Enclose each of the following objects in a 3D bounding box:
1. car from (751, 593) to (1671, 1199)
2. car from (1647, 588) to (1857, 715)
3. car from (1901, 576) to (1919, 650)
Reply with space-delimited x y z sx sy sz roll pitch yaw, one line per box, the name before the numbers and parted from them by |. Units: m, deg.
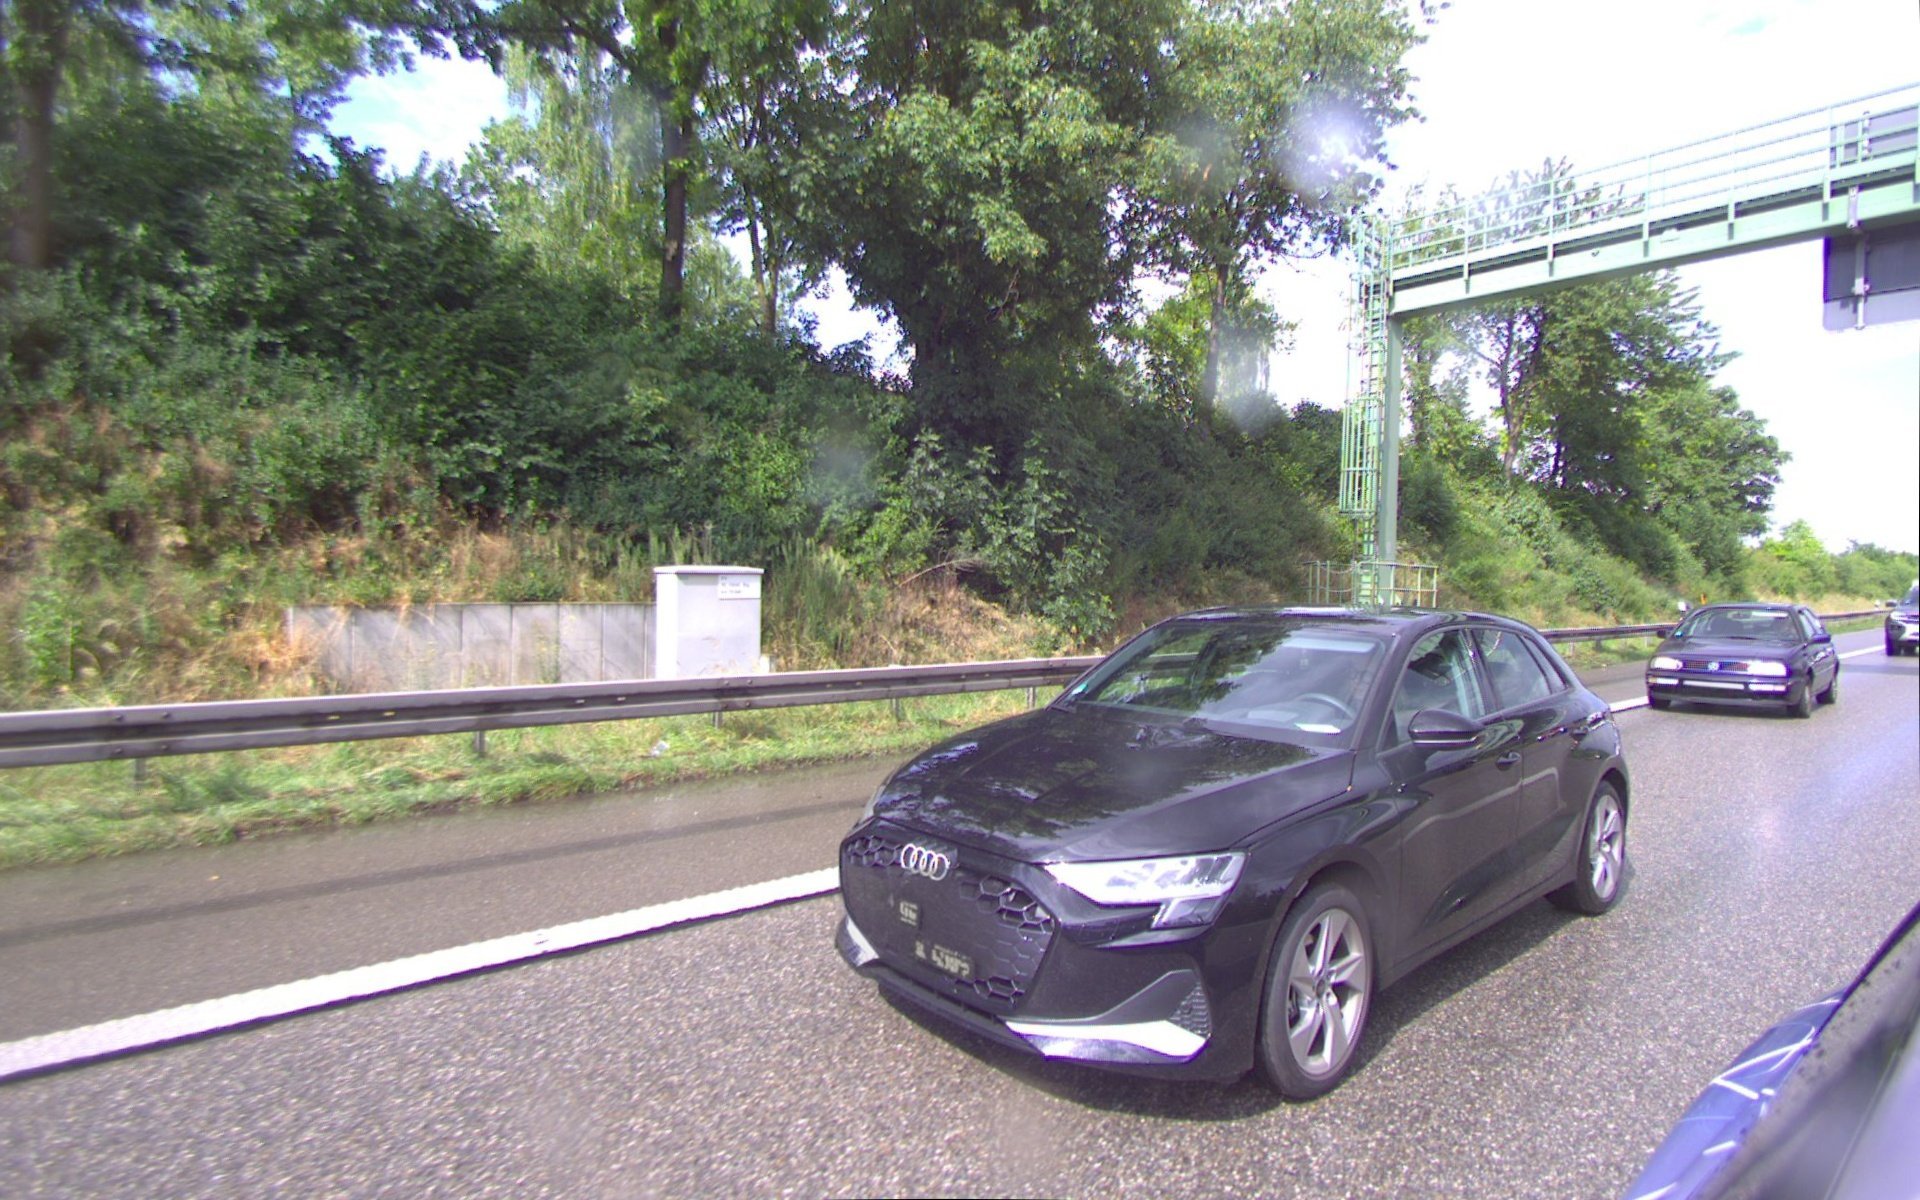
car | 1.429 0.688 4.384 4.292 1.414 1.758 0 1 -41
car | 10.737 0.579 13.632 3.681 1.474 1.653 0 1 -43
car | 26.117 0.328 26.362 5.213 1.826 1.830 0 1 -41
